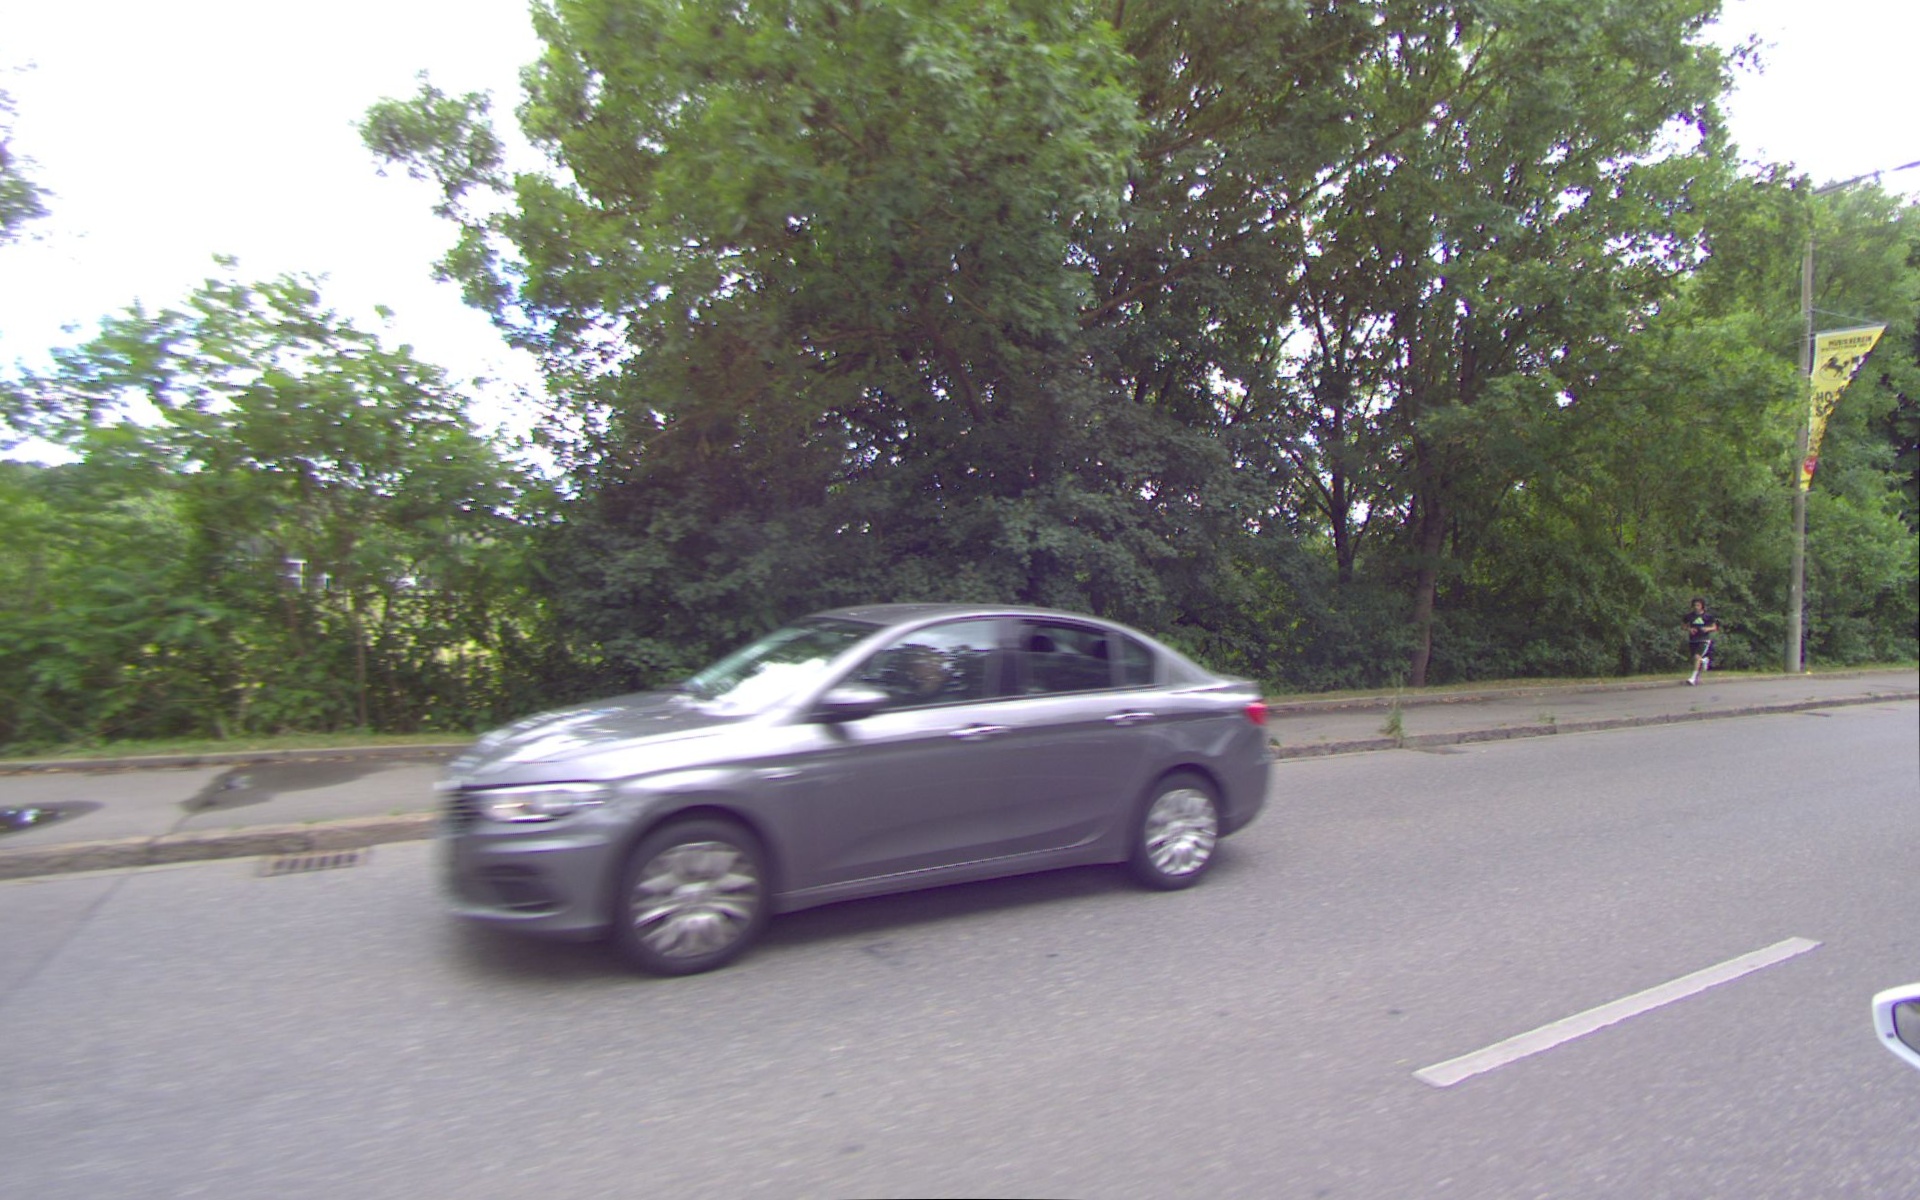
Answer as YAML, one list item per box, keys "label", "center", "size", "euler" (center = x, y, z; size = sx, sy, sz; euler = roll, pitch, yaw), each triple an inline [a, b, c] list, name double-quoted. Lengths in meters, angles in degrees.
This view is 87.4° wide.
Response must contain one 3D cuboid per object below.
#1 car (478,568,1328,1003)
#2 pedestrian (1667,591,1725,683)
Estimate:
- label: "car"
  center: [-0.187, 0.696, 5.515]
  size: [4.233, 1.525, 1.982]
  euler: [2, 0, -33]
- label: "pedestrian"
  center: [14.503, 0.715, 19.788]
  size: [0.805, 1.737, 0.596]
  euler: [1, 2, -32]
